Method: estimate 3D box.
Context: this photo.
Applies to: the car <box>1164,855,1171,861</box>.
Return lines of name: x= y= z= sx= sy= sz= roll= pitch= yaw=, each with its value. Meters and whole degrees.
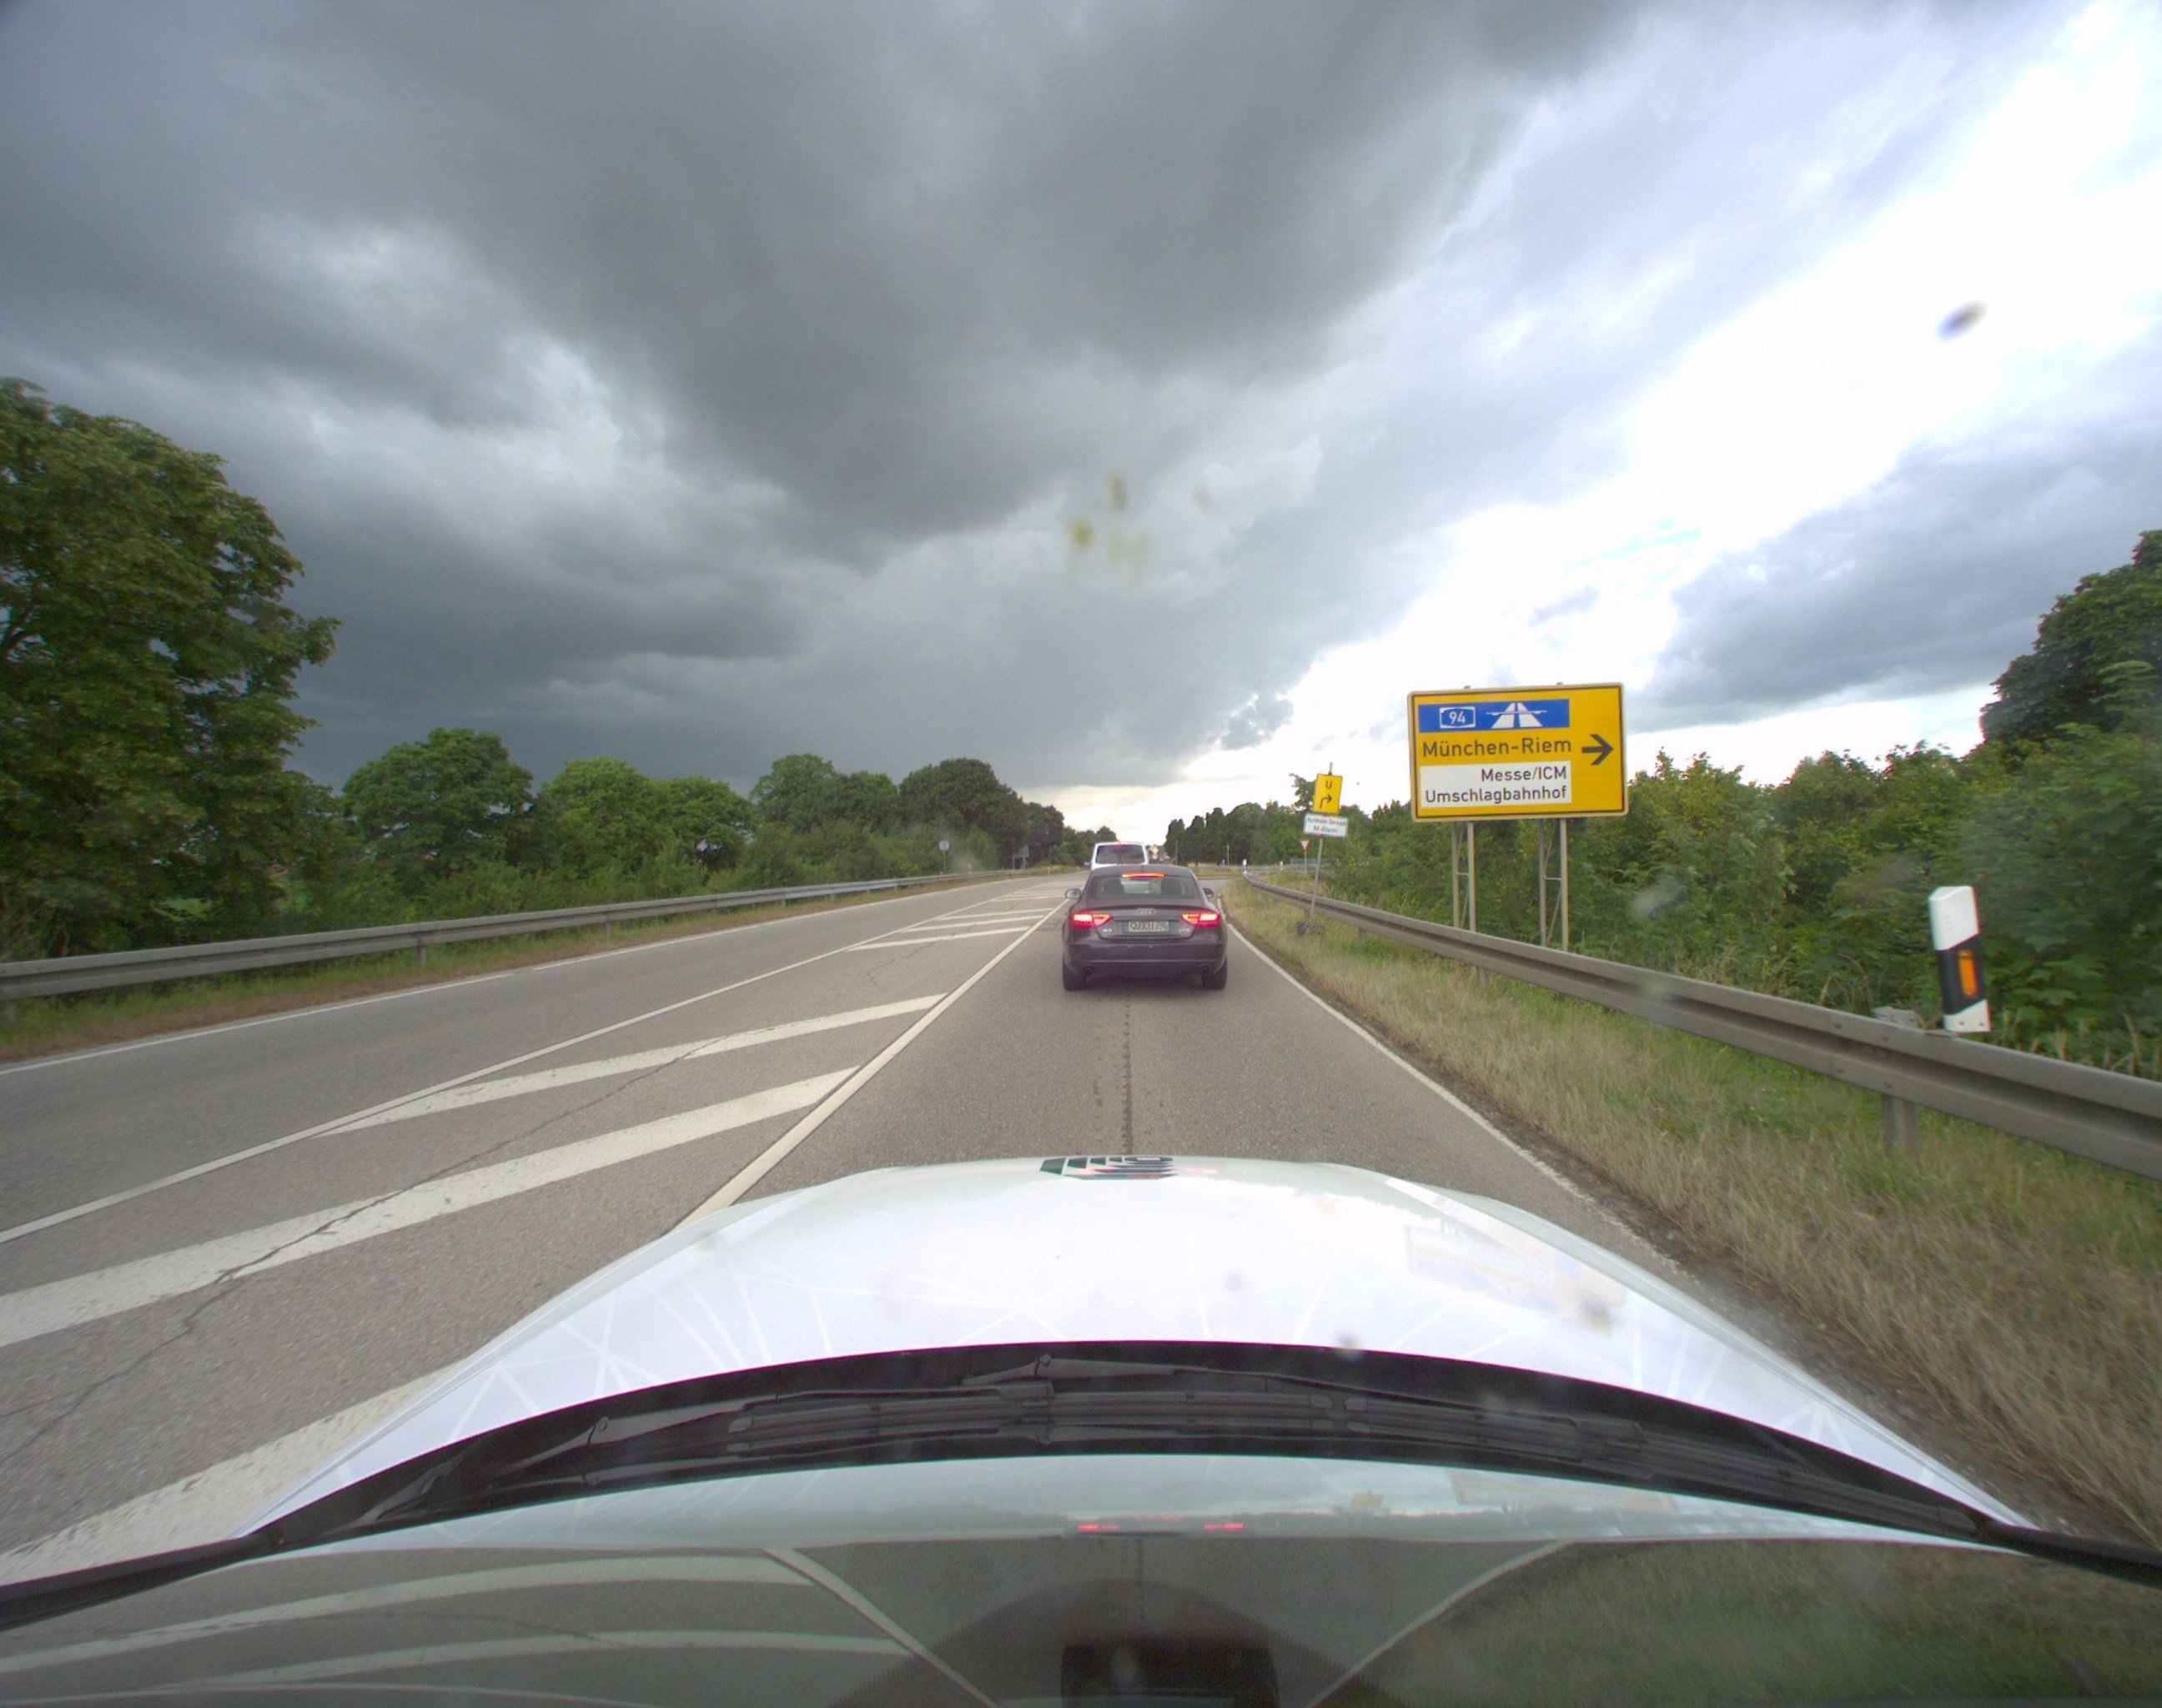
car: x=26.955 y=1.176 z=253.504 sx=1.984 sy=1.692 sz=4.005 roll=0 pitch=0 yaw=5

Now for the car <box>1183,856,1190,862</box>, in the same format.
car: x=31.914 y=1.428 z=246.190 sx=1.865 sy=1.692 sz=4.009 roll=0 pitch=0 yaw=8

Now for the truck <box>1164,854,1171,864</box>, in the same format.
truck: x=24.884 y=1.363 z=235.256 sx=1.984 sy=2.918 sz=5.802 roll=0 pitch=0 yaw=5

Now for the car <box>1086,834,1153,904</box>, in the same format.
car: x=1.181 y=0.435 z=25.502 sx=1.903 sy=2.013 sz=4.002 roll=0 pitch=0 yaw=2

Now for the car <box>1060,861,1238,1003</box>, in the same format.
car: x=0.736 y=0.797 z=9.848 sx=1.773 sy=1.399 sz=3.338 roll=-1 pitch=0 yaw=2
